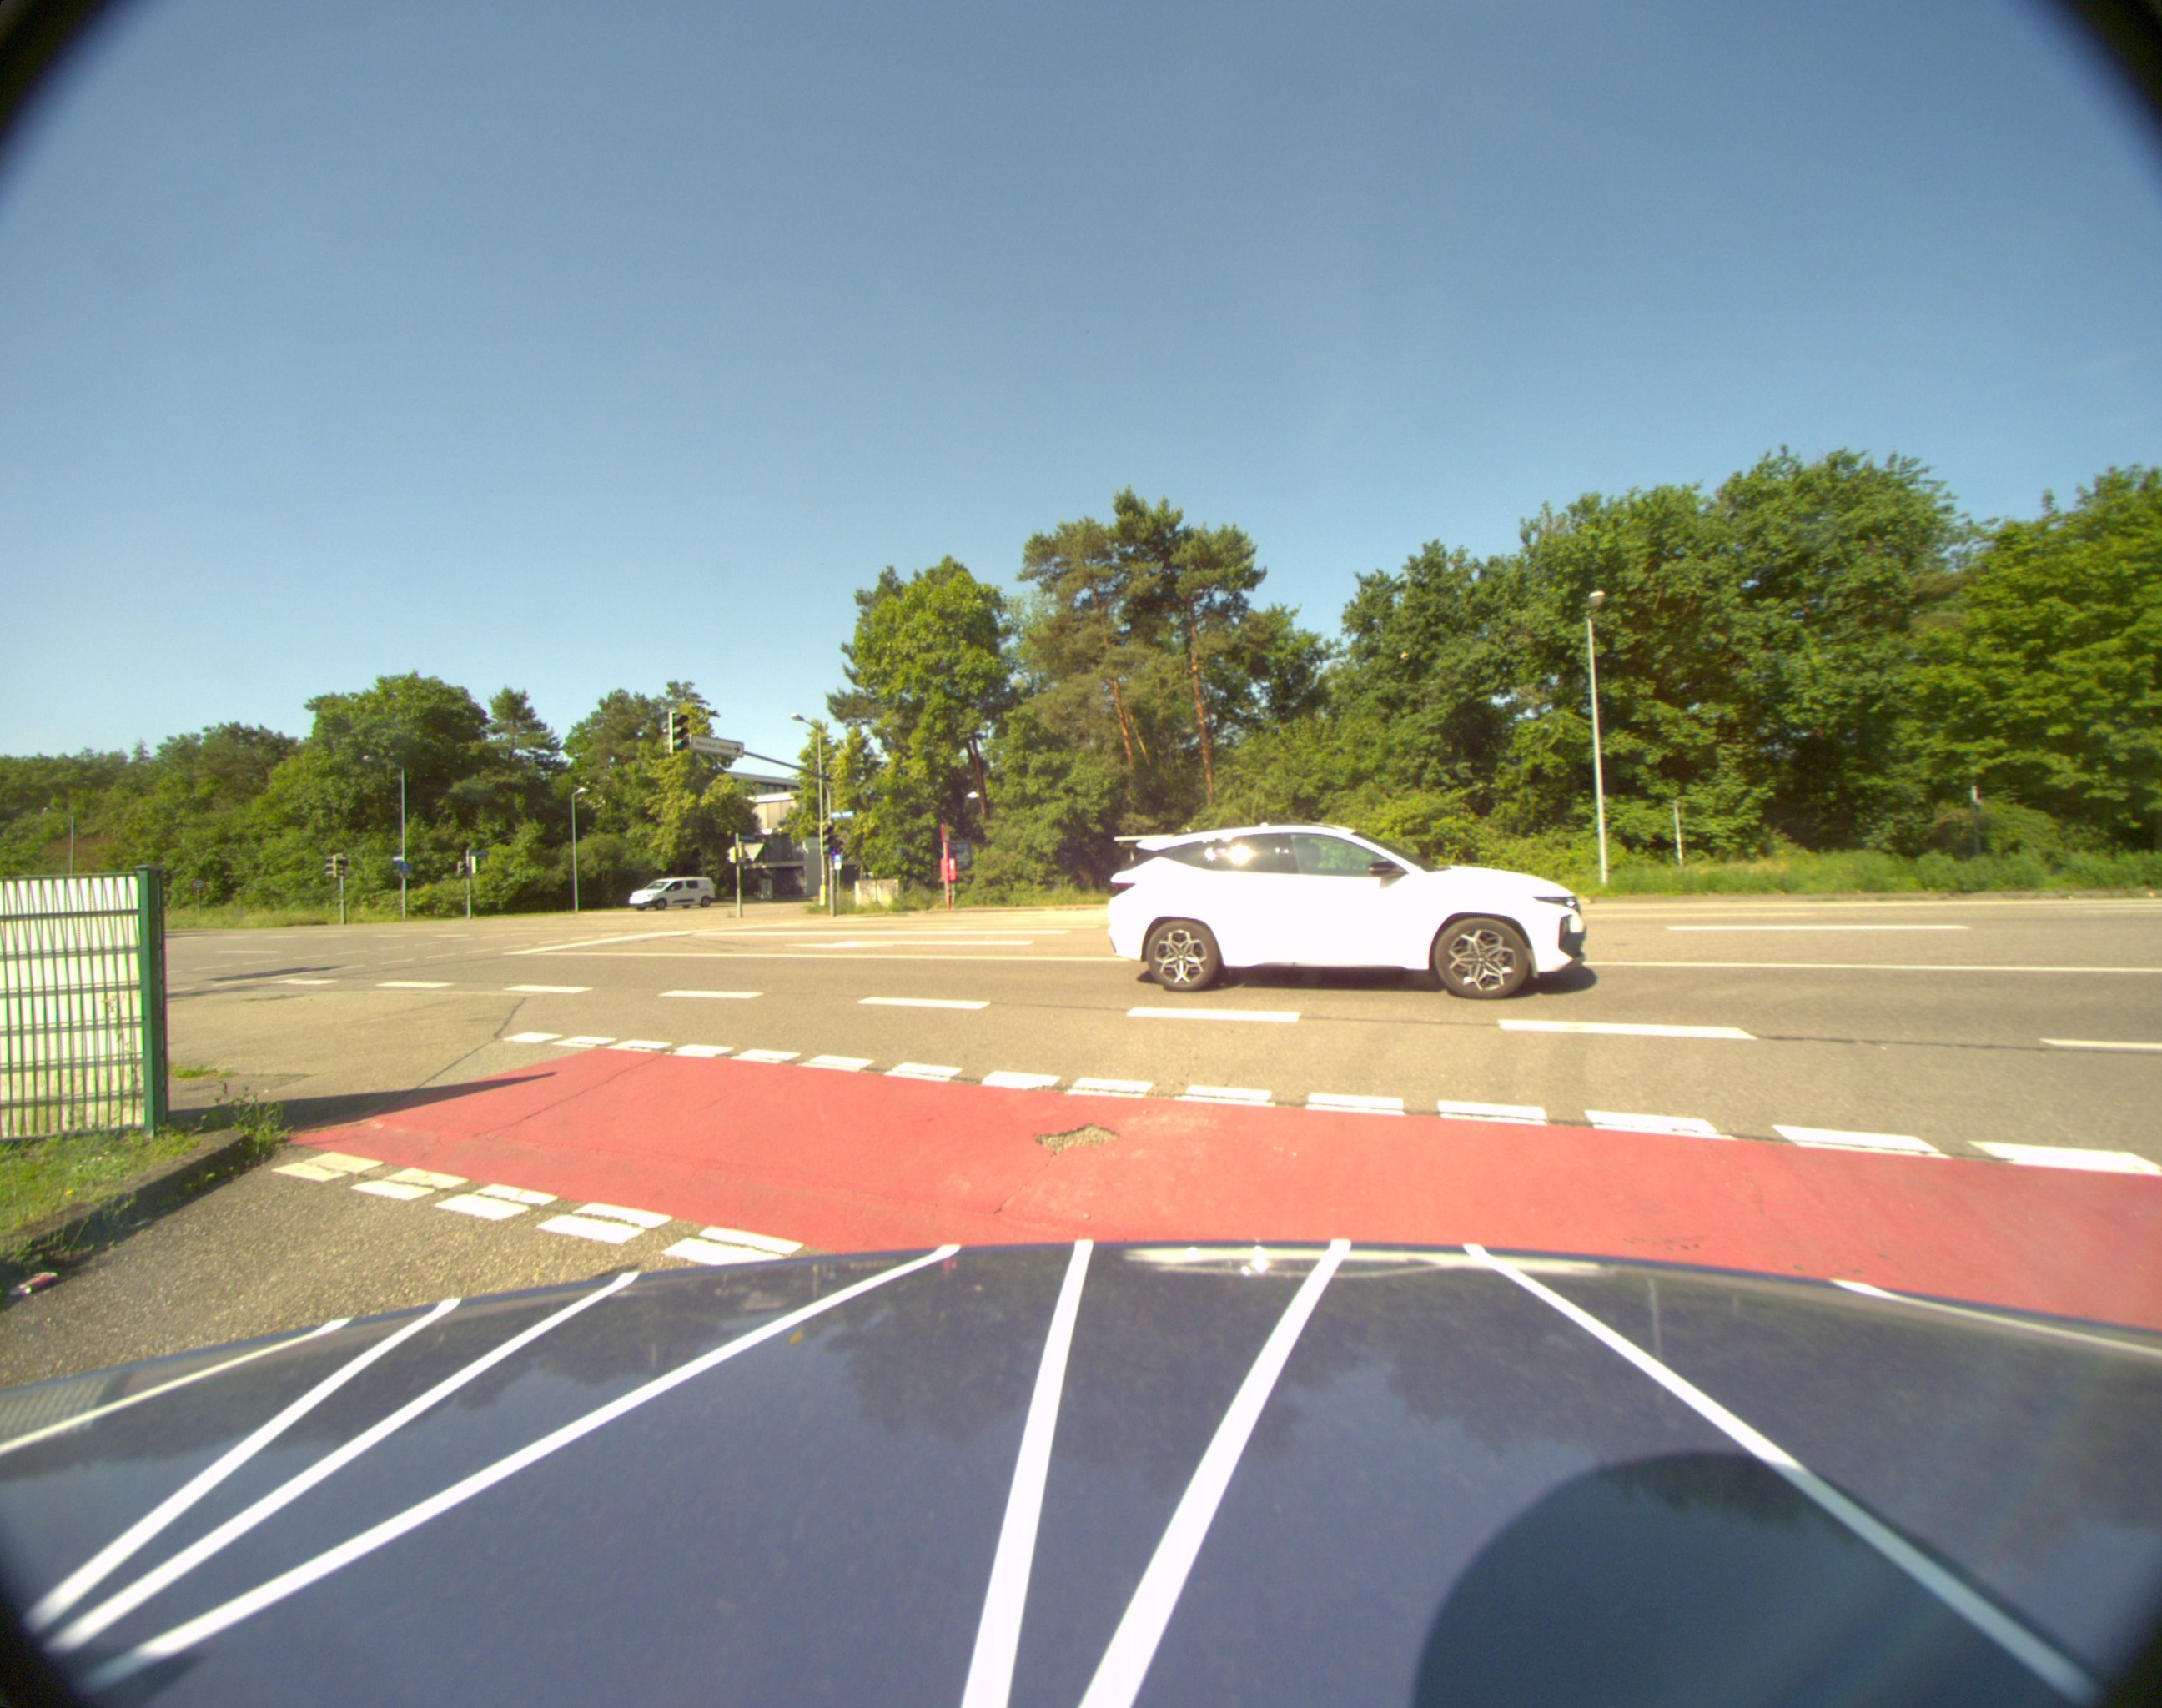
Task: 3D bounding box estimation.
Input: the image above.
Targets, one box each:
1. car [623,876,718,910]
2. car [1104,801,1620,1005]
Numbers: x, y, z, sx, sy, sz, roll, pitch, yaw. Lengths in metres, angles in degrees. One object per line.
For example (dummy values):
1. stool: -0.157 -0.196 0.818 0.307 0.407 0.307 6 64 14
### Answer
1. car: -23.530 2.208 43.742 1.848 1.767 4.670 -2 -2 23
2. car: 2.605 0.462 7.695 4.298 1.639 1.816 -3 1 21
